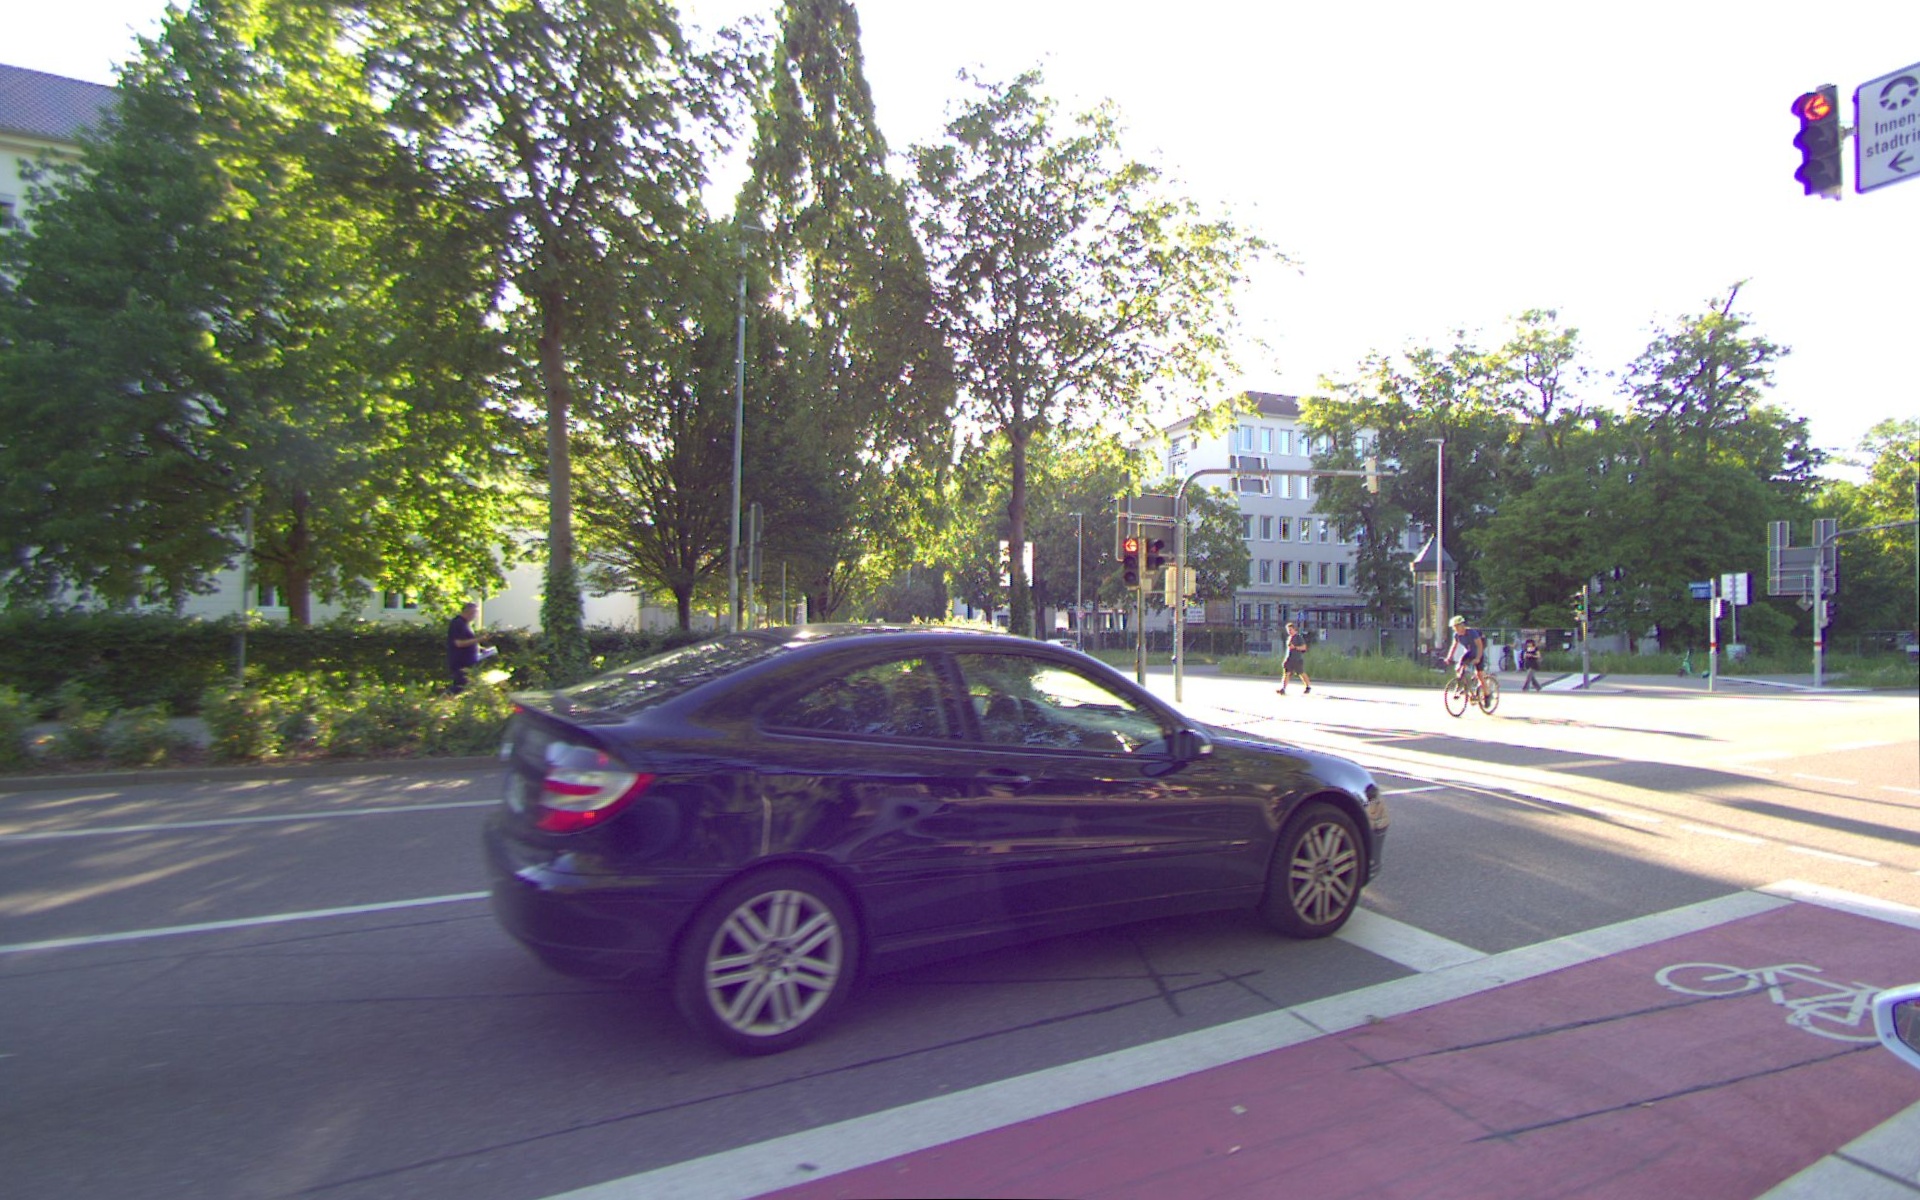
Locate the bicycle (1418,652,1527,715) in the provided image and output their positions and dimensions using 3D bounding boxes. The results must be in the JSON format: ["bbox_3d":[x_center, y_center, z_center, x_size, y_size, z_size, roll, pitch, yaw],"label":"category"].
[{"bbox_3d":[9.705,1.558,19.005,2.160,1.131,0.694,1,-2,-26],"label":"bicycle"}]

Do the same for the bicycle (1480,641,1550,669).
[{"bbox_3d":[23.954,2.379,43.405,0.967,1.150,2.564,1,-2,-24],"label":"bicycle"}]

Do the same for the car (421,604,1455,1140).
[{"bbox_3d":[0.094,0.801,4.607,4.474,1.437,1.709,2,0,-30],"label":"car"}]

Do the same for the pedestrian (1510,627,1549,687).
[{"bbox_3d":[17.596,1.751,31.040,0.715,1.840,0.742,1,-2,-21],"label":"pedestrian"}]

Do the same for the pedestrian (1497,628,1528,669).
[{"bbox_3d":[23.640,2.080,43.023,0.634,1.718,0.974,1,-2,-24],"label":"pedestrian"}]

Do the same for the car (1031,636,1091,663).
[{"bbox_3d":[6.189,3.026,61.867,2.038,1.559,4.239,1,-2,-21],"label":"car"}]

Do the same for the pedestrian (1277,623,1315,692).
[{"bbox_3d":[9.033,1.533,27.029,0.670,1.840,0.689,1,-2,-21],"label":"pedestrian"}]

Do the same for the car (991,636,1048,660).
[{"bbox_3d":[3.922,3.165,66.949,2.204,1.559,4.239,1,-2,-21],"label":"car"}]

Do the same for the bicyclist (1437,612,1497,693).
[{"bbox_3d":[9.568,0.984,18.964,0.748,1.485,0.694,1,-2,-26],"label":"bicyclist"}]

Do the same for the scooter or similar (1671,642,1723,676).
[{"bbox_3d":[28.606,2.280,39.002,1.466,1.311,0.696,0,-2,0],"label":"scooter or similar"}]

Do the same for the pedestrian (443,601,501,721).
[{"bbox_3d":[-7.150,0.880,14.740,0.670,1.703,0.689,1,-2,-21],"label":"pedestrian"}]
